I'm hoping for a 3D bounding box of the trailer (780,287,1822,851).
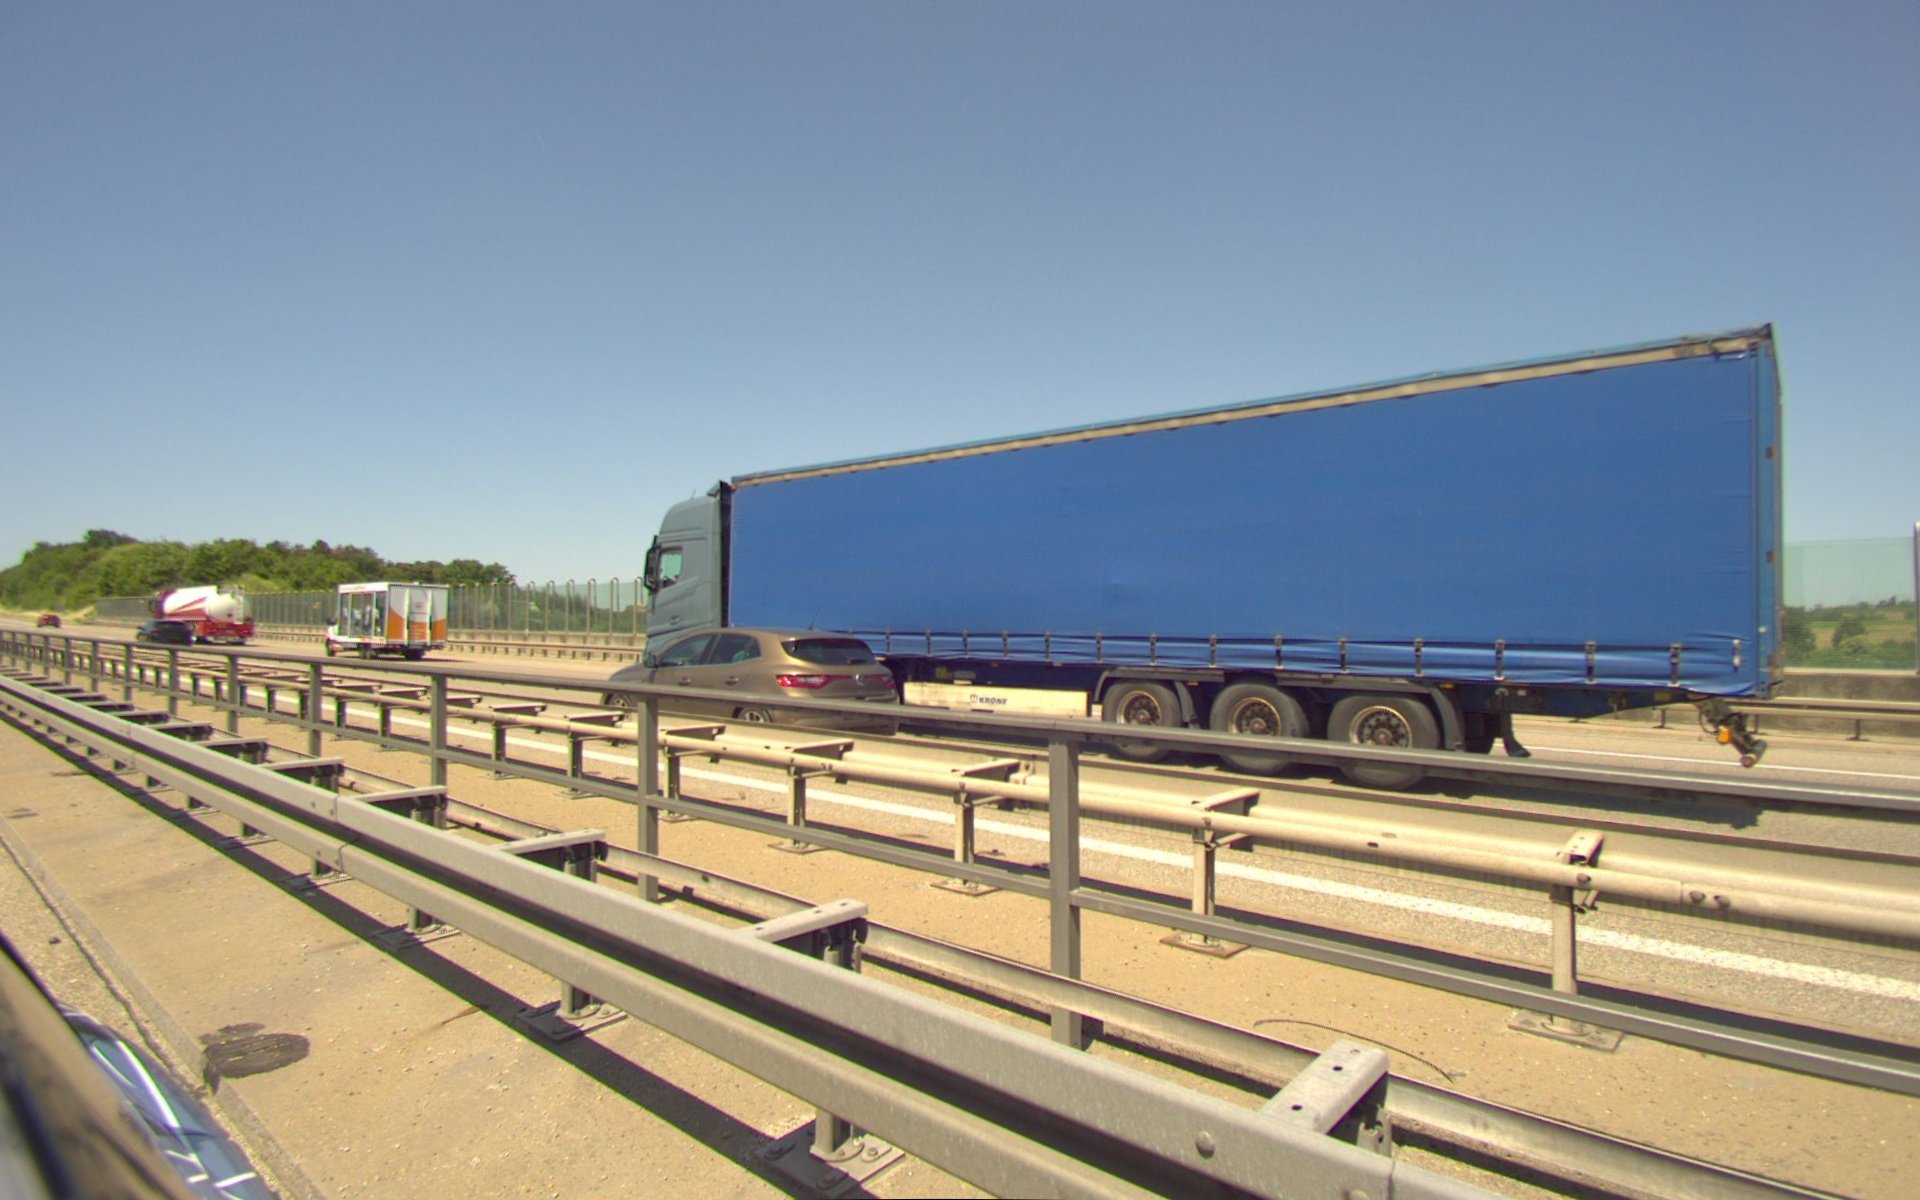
[{"bbox_3d":[2.707,-0.174,12.503,12.043,4.197,2.676,0,-2,41],"label":"trailer"}]

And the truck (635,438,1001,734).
[{"bbox_3d":[-2.604,-0.151,17.265,6.262,4.148,2.724,0,-2,41],"label":"truck"}]

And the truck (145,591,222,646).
[{"bbox_3d":[-51.102,1.243,66.582,6.294,3.441,2.877,0,-3,43],"label":"truck"}]

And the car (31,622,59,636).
[{"bbox_3d":[-101.656,3.193,112.423,3.999,1.431,1.763,0,-4,42],"label":"car"}]

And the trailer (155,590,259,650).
[{"bbox_3d":[-46.597,1.207,62.411,12.006,3.405,2.845,0,-3,43],"label":"trailer"}]

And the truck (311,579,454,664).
[{"bbox_3d":[-24.130,0.896,42.079,8.291,3.213,2.535,0,-4,42],"label":"truck"}]

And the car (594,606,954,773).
[{"bbox_3d":[-2.265,0.869,11.712,4.186,1.563,1.863,0,0,40],"label":"car"}]

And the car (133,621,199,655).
[{"bbox_3d":[-38.259,1.818,48.718,3.850,1.510,1.779,0,-2,41],"label":"car"}]
